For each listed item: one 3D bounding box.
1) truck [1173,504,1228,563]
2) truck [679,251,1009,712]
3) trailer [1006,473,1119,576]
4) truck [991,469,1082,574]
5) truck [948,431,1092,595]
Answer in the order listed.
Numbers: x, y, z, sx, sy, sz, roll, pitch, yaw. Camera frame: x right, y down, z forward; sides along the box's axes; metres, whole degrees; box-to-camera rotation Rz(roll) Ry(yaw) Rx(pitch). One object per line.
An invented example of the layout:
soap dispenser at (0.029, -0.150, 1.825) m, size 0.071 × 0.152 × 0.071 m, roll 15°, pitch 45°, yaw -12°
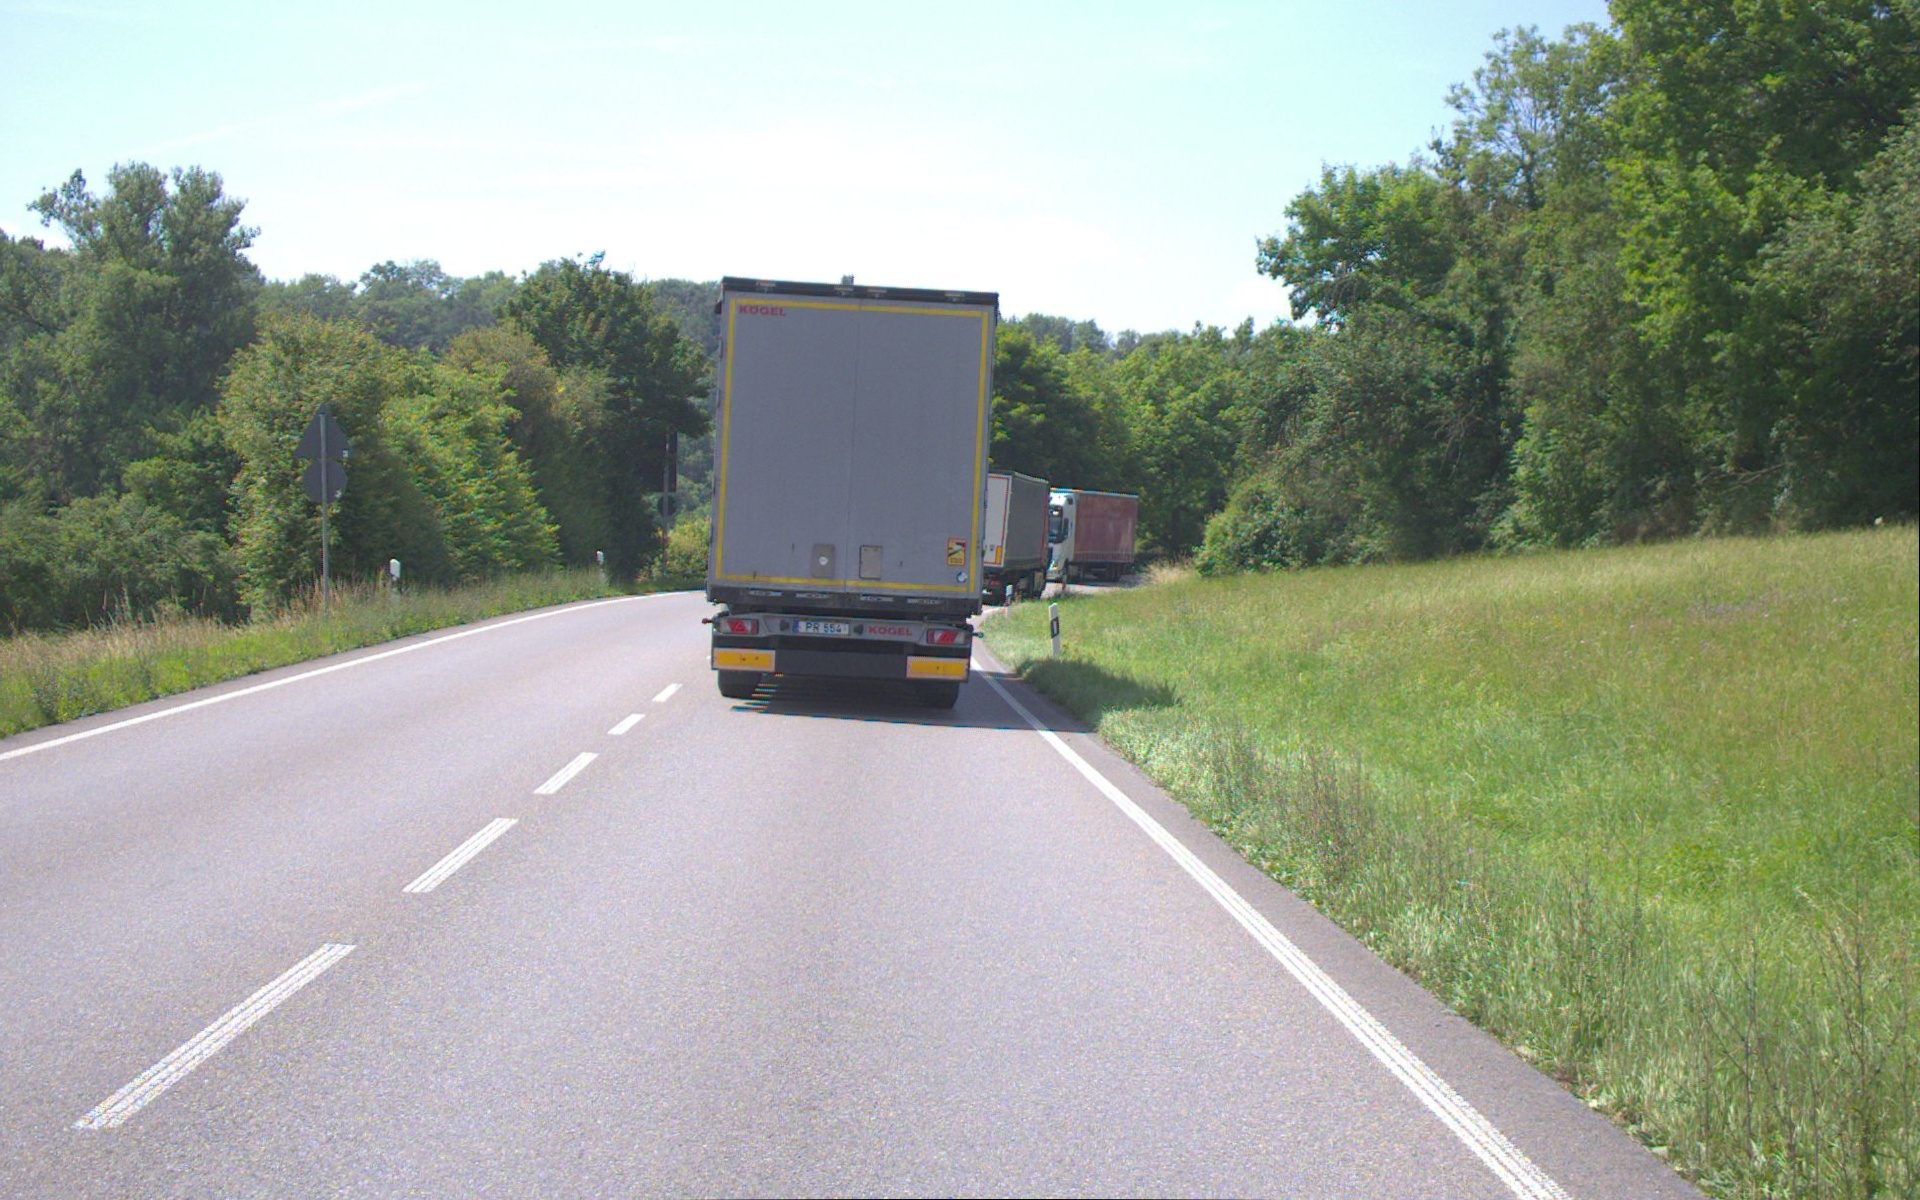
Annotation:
truck at (12.055, -3.338, 172.175) m, size 2.355 × 2.816 × 5.057 m, roll -2°, pitch 1°, yaw 8°
truck at (-1.376, -1.198, 38.959) m, size 2.801 × 4.054 × 15.327 m, roll 3°, pitch 1°, yaw -2°
trailer at (4.727, -3.294, 154.992) m, size 2.570 × 4.093 × 13.655 m, roll 7°, pitch 1°, yaw 11°
truck at (3.326, -3.327, 147.566) m, size 2.560 × 4.101 × 5.796 m, roll 7°, pitch 1°, yaw 11°
truck at (2.098, -2.861, 110.495) m, size 3.105 × 4.689 × 16.587 m, roll 4°, pitch 2°, yaw 5°
